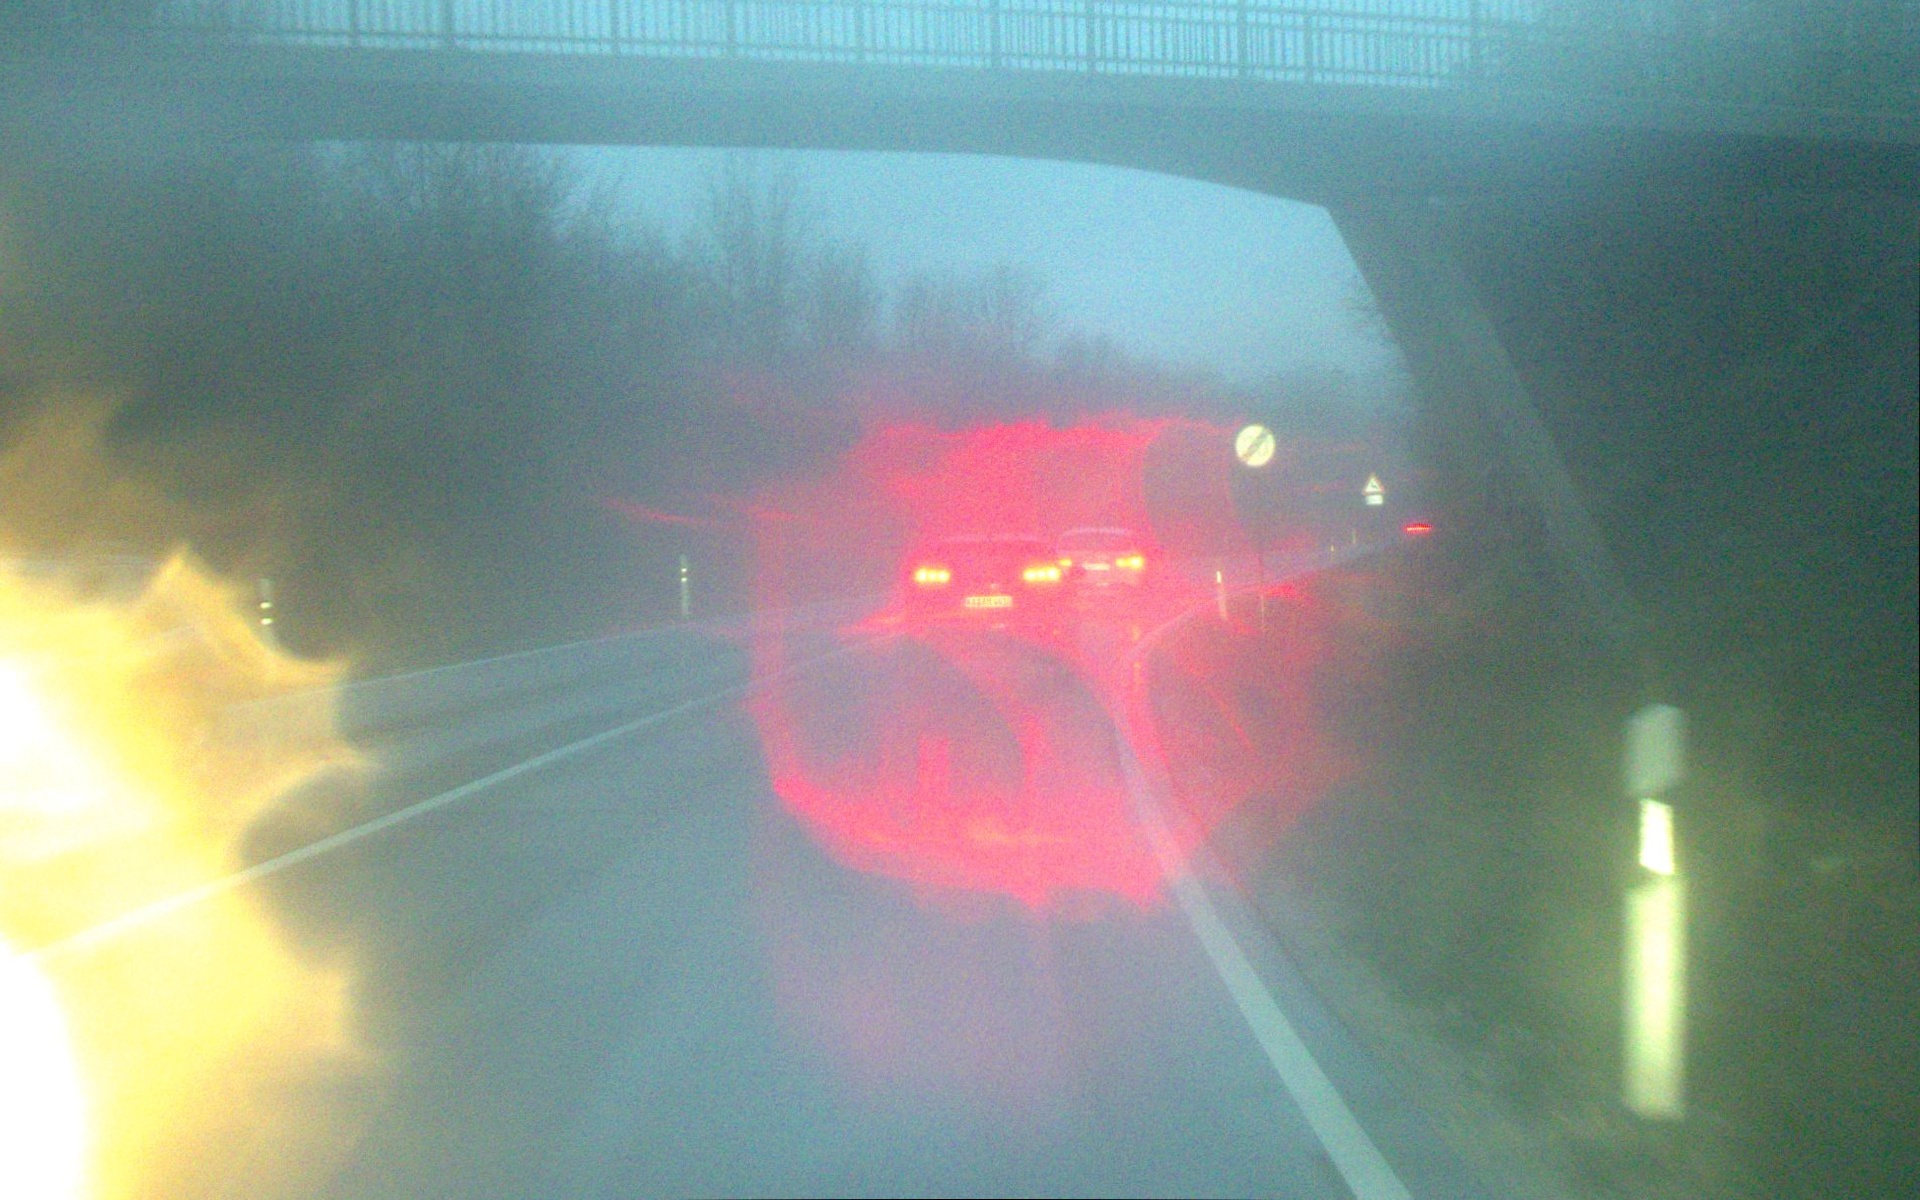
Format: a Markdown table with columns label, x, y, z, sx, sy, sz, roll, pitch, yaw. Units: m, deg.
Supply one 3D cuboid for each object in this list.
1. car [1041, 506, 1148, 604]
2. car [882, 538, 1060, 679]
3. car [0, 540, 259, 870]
| label | x | y | z | sx | sy | sz | roll | pitch | yaw |
| --- | --- | --- | --- | --- | --- | --- | --- | --- | --- |
| car | 2.453 | -0.823 | 61.829 | 1.679 | 1.669 | 4.097 | -1 | 1 | 5 |
| car | 0.170 | 0.051 | 36.827 | 1.679 | 1.385 | 4.098 | -1 | 1 | 3 |
| car | -4.883 | 0.422 | 17.260 | 1.804 | 1.448 | 4.379 | 0 | 1 | 0 |
